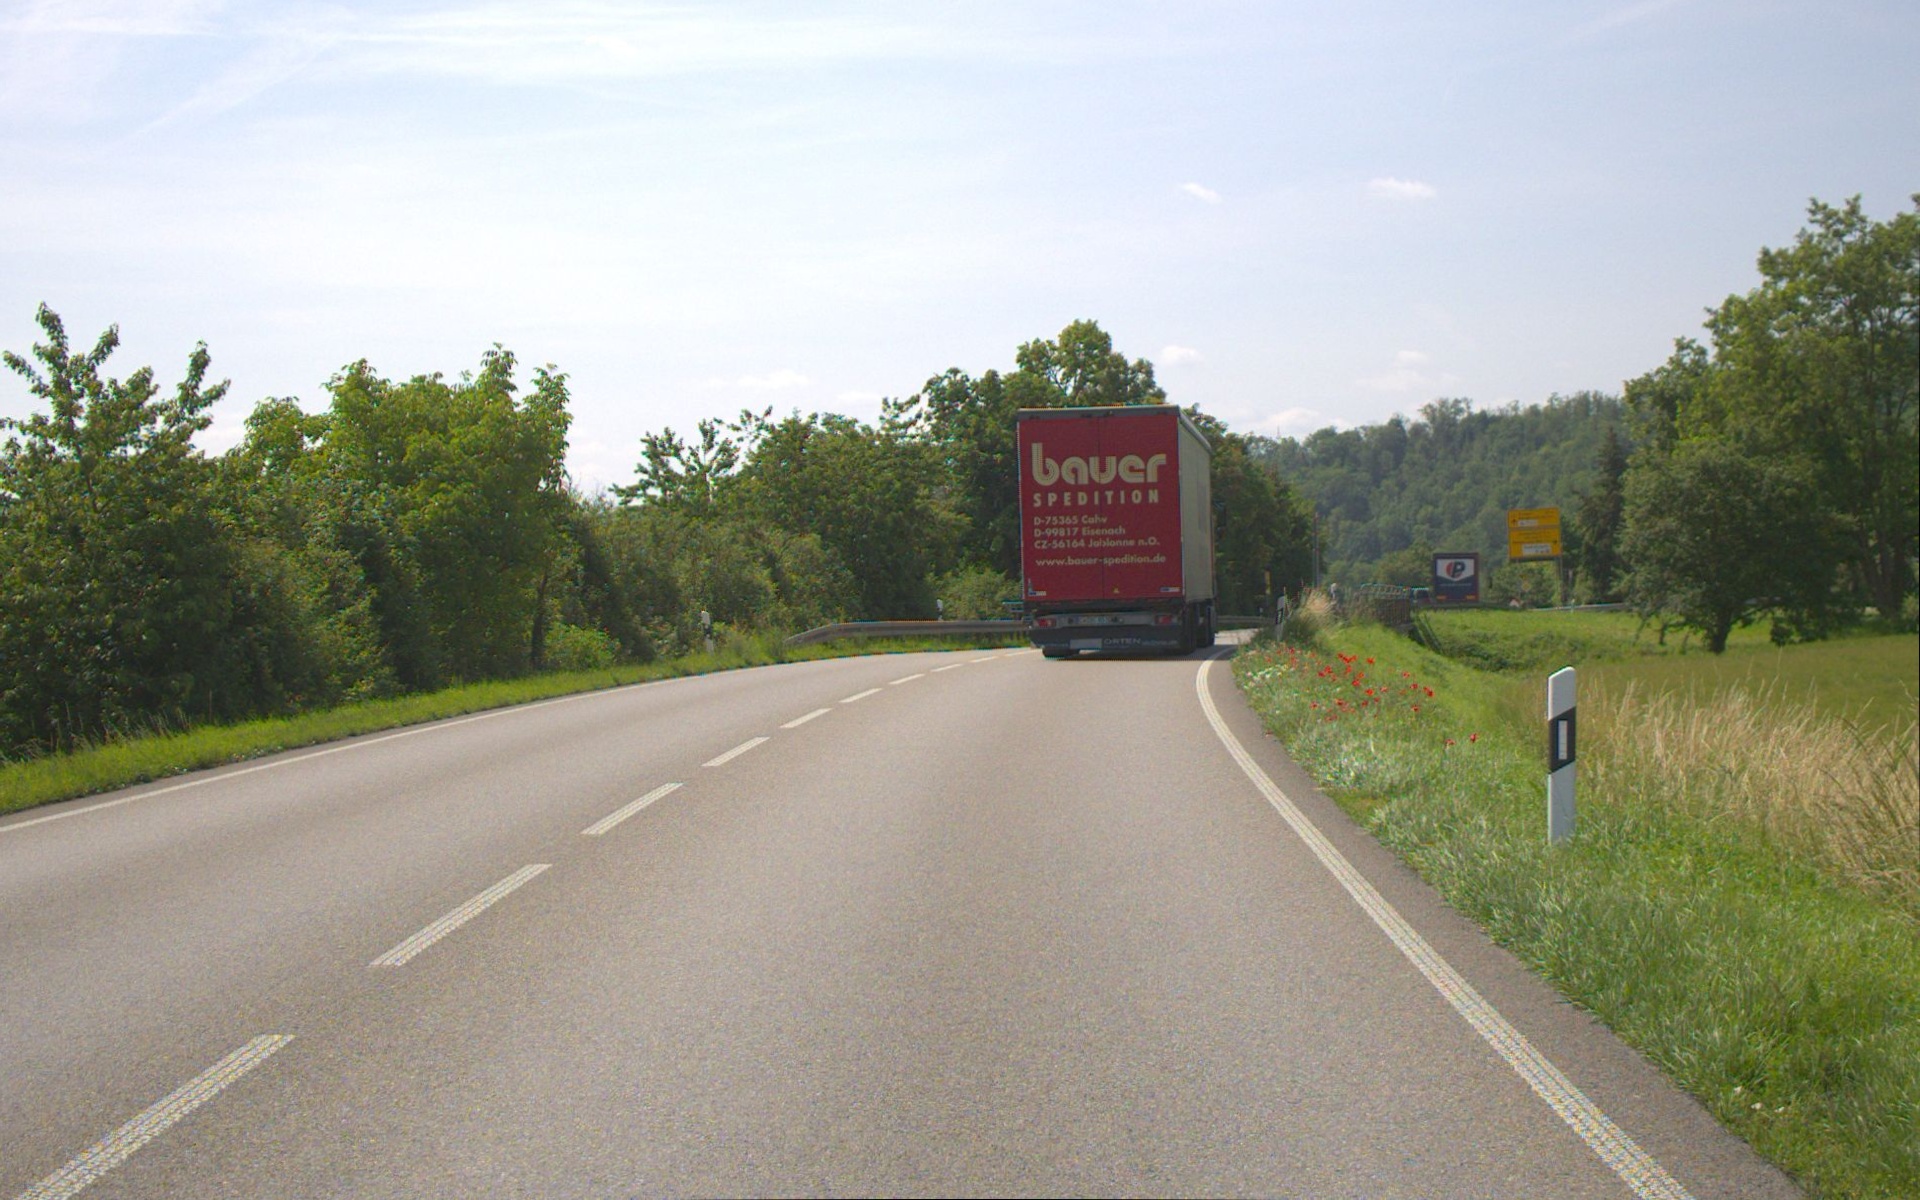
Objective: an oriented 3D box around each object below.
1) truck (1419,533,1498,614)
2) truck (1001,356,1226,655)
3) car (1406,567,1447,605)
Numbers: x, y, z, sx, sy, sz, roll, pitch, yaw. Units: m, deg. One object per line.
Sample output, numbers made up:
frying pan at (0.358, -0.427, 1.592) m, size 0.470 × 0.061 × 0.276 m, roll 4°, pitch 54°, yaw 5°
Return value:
truck at (29.475, -1.474, 202.664) m, size 3.907 × 4.355 × 13.284 m, roll 0°, pitch -1°, yaw 11°
truck at (2.900, -1.557, 60.071) m, size 3.173 × 4.609 × 13.541 m, roll 0°, pitch 1°, yaw 6°
car at (23.596, -0.704, 173.881) m, size 1.994 × 1.804 × 3.998 m, roll 1°, pitch -1°, yaw 9°
